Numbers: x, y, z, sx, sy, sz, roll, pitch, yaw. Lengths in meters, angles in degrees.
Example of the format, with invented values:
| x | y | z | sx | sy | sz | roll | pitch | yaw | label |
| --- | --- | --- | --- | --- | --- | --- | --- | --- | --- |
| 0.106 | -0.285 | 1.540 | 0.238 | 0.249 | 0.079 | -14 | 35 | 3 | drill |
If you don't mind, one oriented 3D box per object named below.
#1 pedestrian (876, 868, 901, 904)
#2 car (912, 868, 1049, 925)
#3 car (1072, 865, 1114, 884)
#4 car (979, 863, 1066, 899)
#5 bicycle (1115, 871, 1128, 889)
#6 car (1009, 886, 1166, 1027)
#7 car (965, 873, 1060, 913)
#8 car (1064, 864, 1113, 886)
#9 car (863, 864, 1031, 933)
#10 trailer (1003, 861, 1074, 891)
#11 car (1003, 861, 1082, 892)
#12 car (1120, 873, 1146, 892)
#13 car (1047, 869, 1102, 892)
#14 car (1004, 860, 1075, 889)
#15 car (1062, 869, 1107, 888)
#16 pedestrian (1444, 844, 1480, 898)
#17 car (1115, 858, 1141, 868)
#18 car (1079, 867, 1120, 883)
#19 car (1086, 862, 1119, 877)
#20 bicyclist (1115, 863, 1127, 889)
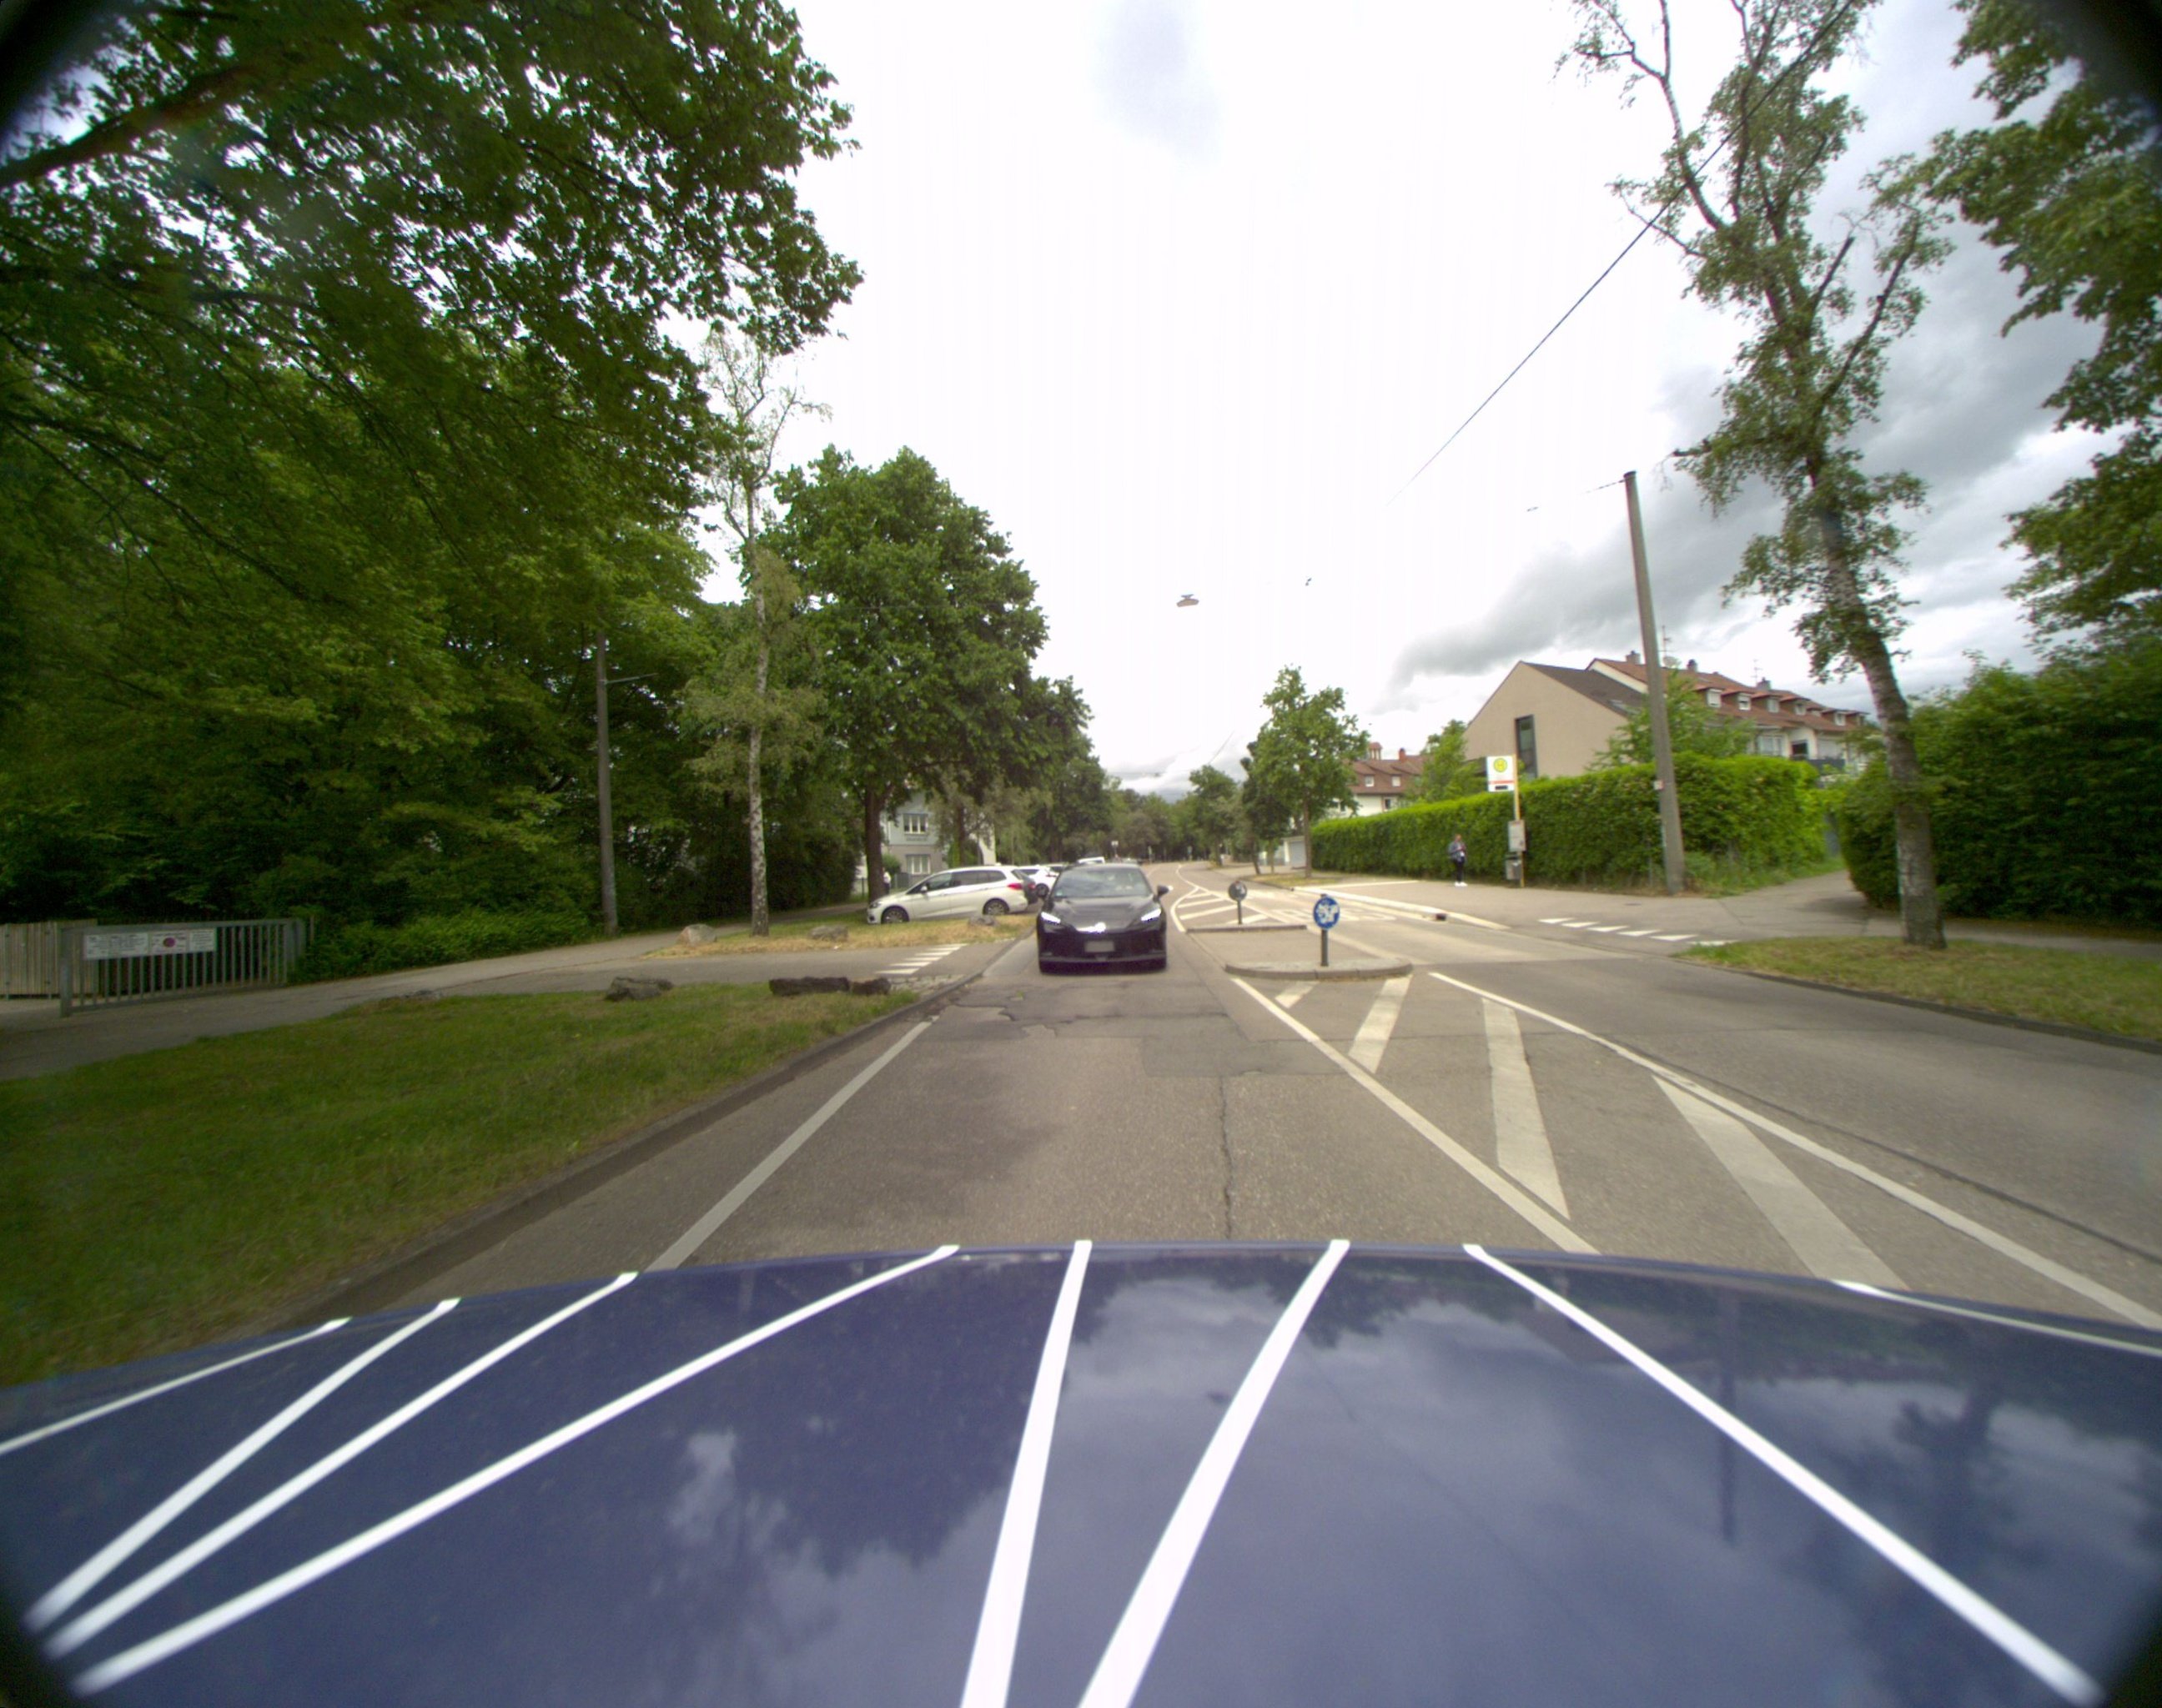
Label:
| x | y | z | sx | sy | sz | roll | pitch | yaw | label |
| --- | --- | --- | --- | --- | --- | --- | --- | --- | --- |
| -8.879 | 1.477 | 35.057 | 0.692 | 1.634 | 0.779 | -3 | 0 | 26 | pedestrian |
| -3.280 | 1.315 | 24.519 | 4.147 | 1.455 | 1.797 | -4 | 0 | -12 | car |
| 1.190 | 2.050 | 75.577 | 3.857 | 1.633 | 1.852 | -4 | 0 | -7 | car |
| -2.904 | 1.302 | 37.274 | 4.000 | 1.455 | 1.795 | -4 | 0 | -10 | car |
| 2.855 | 1.834 | 53.838 | 0.648 | 1.230 | 1.877 | -3 | -1 | -4 | bicycle |
| 0.276 | 1.309 | 10.933 | 1.812 | 1.484 | 3.795 | -2 | 0 | 6 | car |
| -3.164 | 1.757 | 34.626 | 4.001 | 1.455 | 1.864 | -4 | 0 | -14 | car |
| 0.732 | 1.984 | 72.563 | 4.224 | 1.748 | 1.857 | -4 | 0 | -17 | car |
| -3.768 | 1.225 | 21.943 | 4.481 | 1.576 | 1.906 | -4 | 0 | -6 | car |
| -2.557 | 1.295 | 45.466 | 4.001 | 1.543 | 1.657 | -3 | -1 | -11 | trailer |
| -2.160 | 1.269 | 42.849 | 4.003 | 1.455 | 1.848 | -4 | 0 | -22 | car |
| 4.381 | 2.398 | 63.777 | 1.860 | 1.365 | 4.079 | -3 | -1 | 8 | car |
| -0.491 | 2.049 | 58.970 | 3.858 | 1.425 | 1.713 | -4 | 0 | -18 | car |
| -2.626 | 1.280 | 47.821 | 4.003 | 1.455 | 1.789 | -4 | 0 | -19 | car |
| 0.312 | 2.244 | 69.414 | 3.857 | 1.430 | 1.715 | -4 | 0 | -7 | car |
| 12.415 | 0.547 | 24.778 | 0.693 | 1.700 | 0.778 | -3 | 0 | -2 | pedestrian |
| 7.482 | 1.463 | 120.454 | 3.855 | 1.378 | 1.655 | -4 | 0 | -1 | car |
| 1.892 | 2.171 | 78.334 | 3.857 | 1.426 | 1.654 | -4 | 0 | -7 | car |
| 2.714 | 1.953 | 95.582 | 3.859 | 1.603 | 1.653 | -2 | 0 | -13 | car |
| 2.839 | 1.566 | 53.937 | 0.647 | 1.768 | 0.628 | -2 | 0 | -4 | bicyclist |
